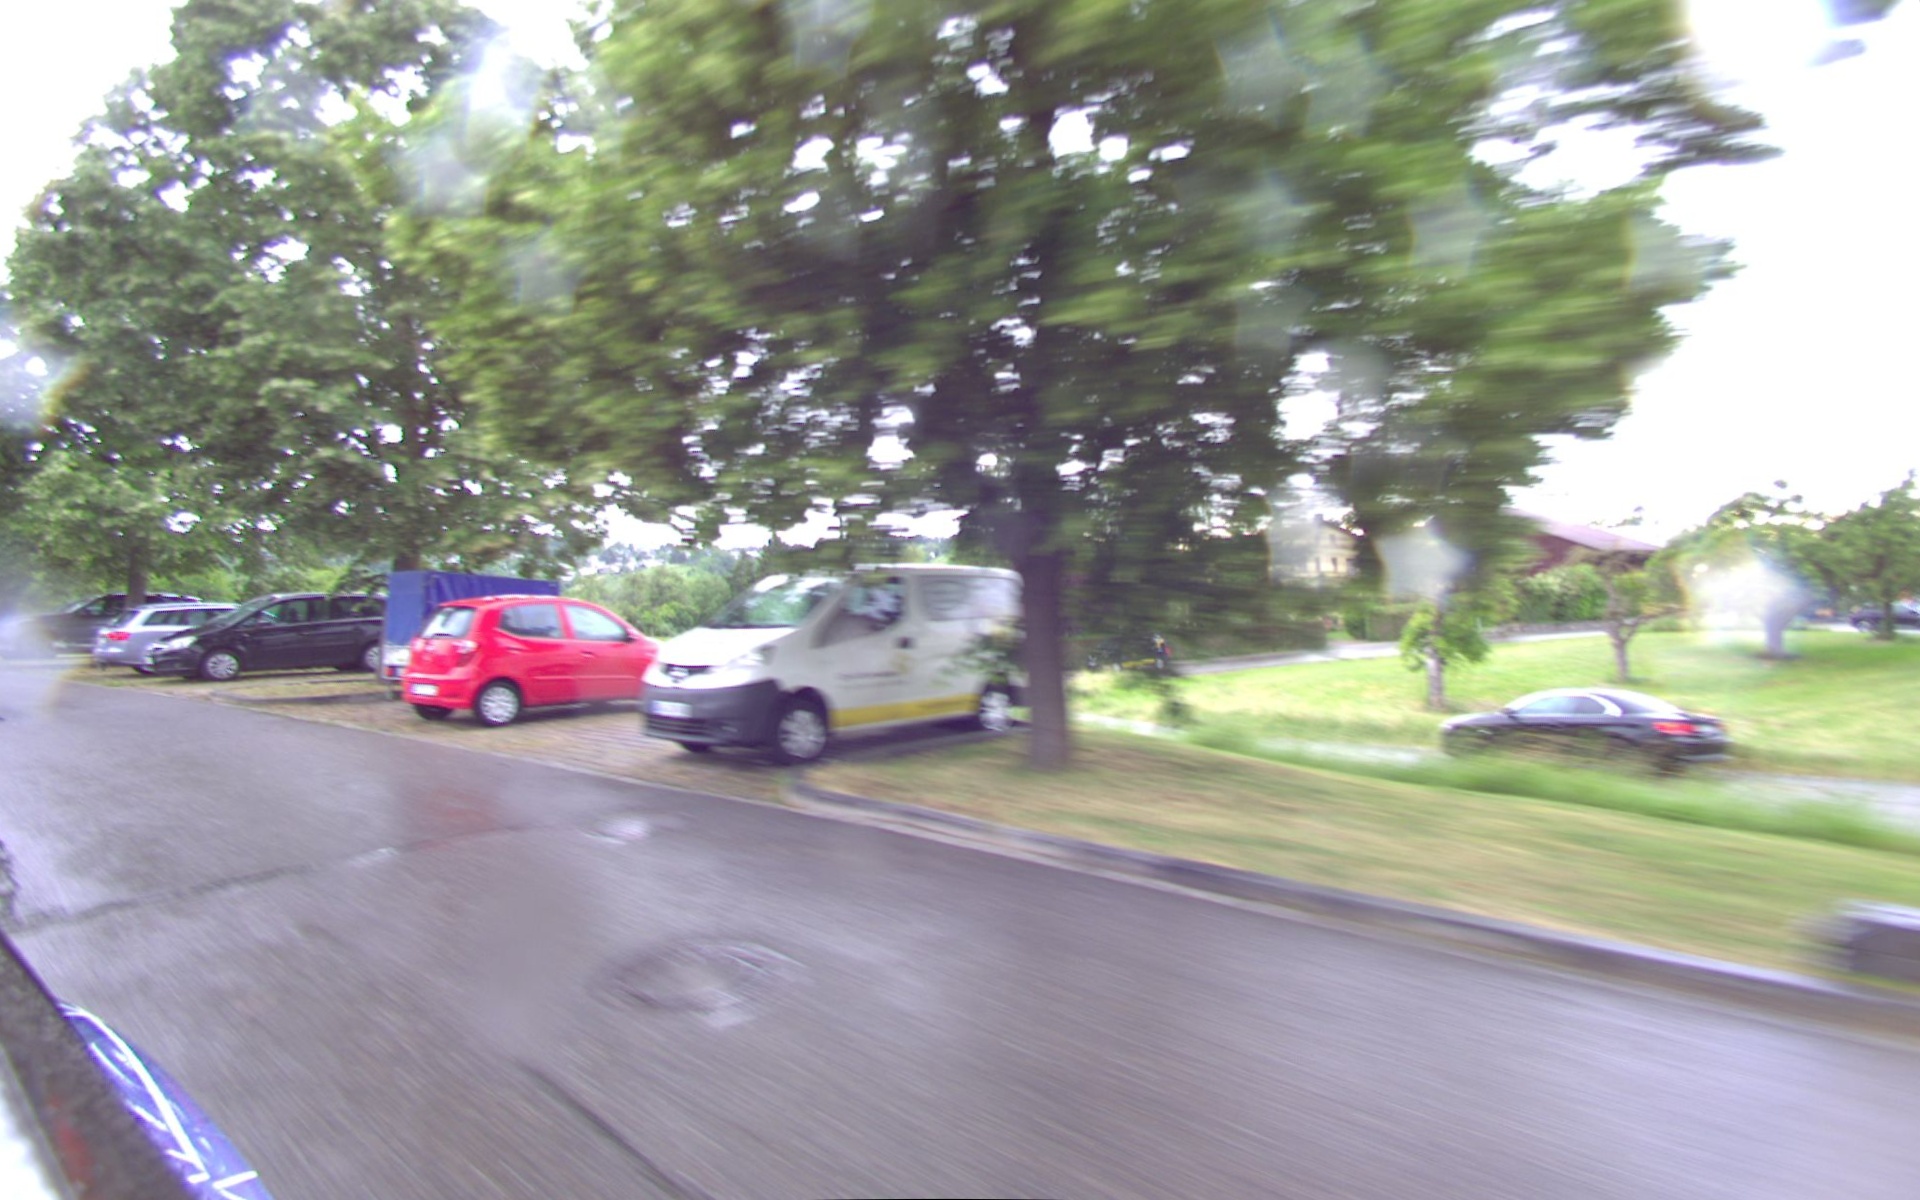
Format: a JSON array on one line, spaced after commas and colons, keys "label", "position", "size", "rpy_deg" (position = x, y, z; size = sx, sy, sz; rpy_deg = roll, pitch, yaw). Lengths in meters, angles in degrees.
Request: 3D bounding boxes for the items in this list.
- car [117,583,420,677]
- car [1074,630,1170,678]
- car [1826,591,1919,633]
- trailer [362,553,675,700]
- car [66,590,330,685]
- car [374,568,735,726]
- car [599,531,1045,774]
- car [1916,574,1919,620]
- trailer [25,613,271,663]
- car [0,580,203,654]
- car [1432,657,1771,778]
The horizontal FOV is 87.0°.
[{"label": "car", "position": [-13.371, 0.481, 19.842], "size": [1.803, 1.601, 4.574], "rpy_deg": [0, 1, 37]}, {"label": "car", "position": [8.003, 2.658, 49.808], "size": [4.426, 2.237, 1.936], "rpy_deg": [3, -3, -31]}, {"label": "car", "position": [47.453, 0.621, 50.893], "size": [2.251, 1.989, 5.440], "rpy_deg": [2, -1, -25]}, {"label": "trailer", "position": [-6.783, 0.396, 15.937], "size": [1.771, 1.999, 4.173], "rpy_deg": [0, -1, 37]}, {"label": "car", "position": [-15.770, 0.679, 21.099], "size": [2.023, 1.734, 4.034], "rpy_deg": [0, 1, 39]}, {"label": "car", "position": [-5.140, 0.554, 13.378], "size": [1.751, 1.735, 4.160], "rpy_deg": [0, -1, 34]}, {"label": "car", "position": [-1.187, 0.458, 10.234], "size": [1.862, 1.920, 4.253], "rpy_deg": [0, -1, 43]}, {"label": "car", "position": [59.492, -0.191, 58.494], "size": [1.966, 2.722, 5.829], "rpy_deg": [-1, 0, -31]}, {"label": "trailer", "position": [-17.984, 0.799, 22.563], "size": [1.996, 0.968, 3.907], "rpy_deg": [-1, -1, 35]}, {"label": "car", "position": [-22.270, 0.438, 25.806], "size": [2.039, 1.735, 4.332], "rpy_deg": [0, -1, 33]}, {"label": "car", "position": [10.730, 1.930, 17.319], "size": [1.966, 1.767, 4.396], "rpy_deg": [2, -5, -30]}]
